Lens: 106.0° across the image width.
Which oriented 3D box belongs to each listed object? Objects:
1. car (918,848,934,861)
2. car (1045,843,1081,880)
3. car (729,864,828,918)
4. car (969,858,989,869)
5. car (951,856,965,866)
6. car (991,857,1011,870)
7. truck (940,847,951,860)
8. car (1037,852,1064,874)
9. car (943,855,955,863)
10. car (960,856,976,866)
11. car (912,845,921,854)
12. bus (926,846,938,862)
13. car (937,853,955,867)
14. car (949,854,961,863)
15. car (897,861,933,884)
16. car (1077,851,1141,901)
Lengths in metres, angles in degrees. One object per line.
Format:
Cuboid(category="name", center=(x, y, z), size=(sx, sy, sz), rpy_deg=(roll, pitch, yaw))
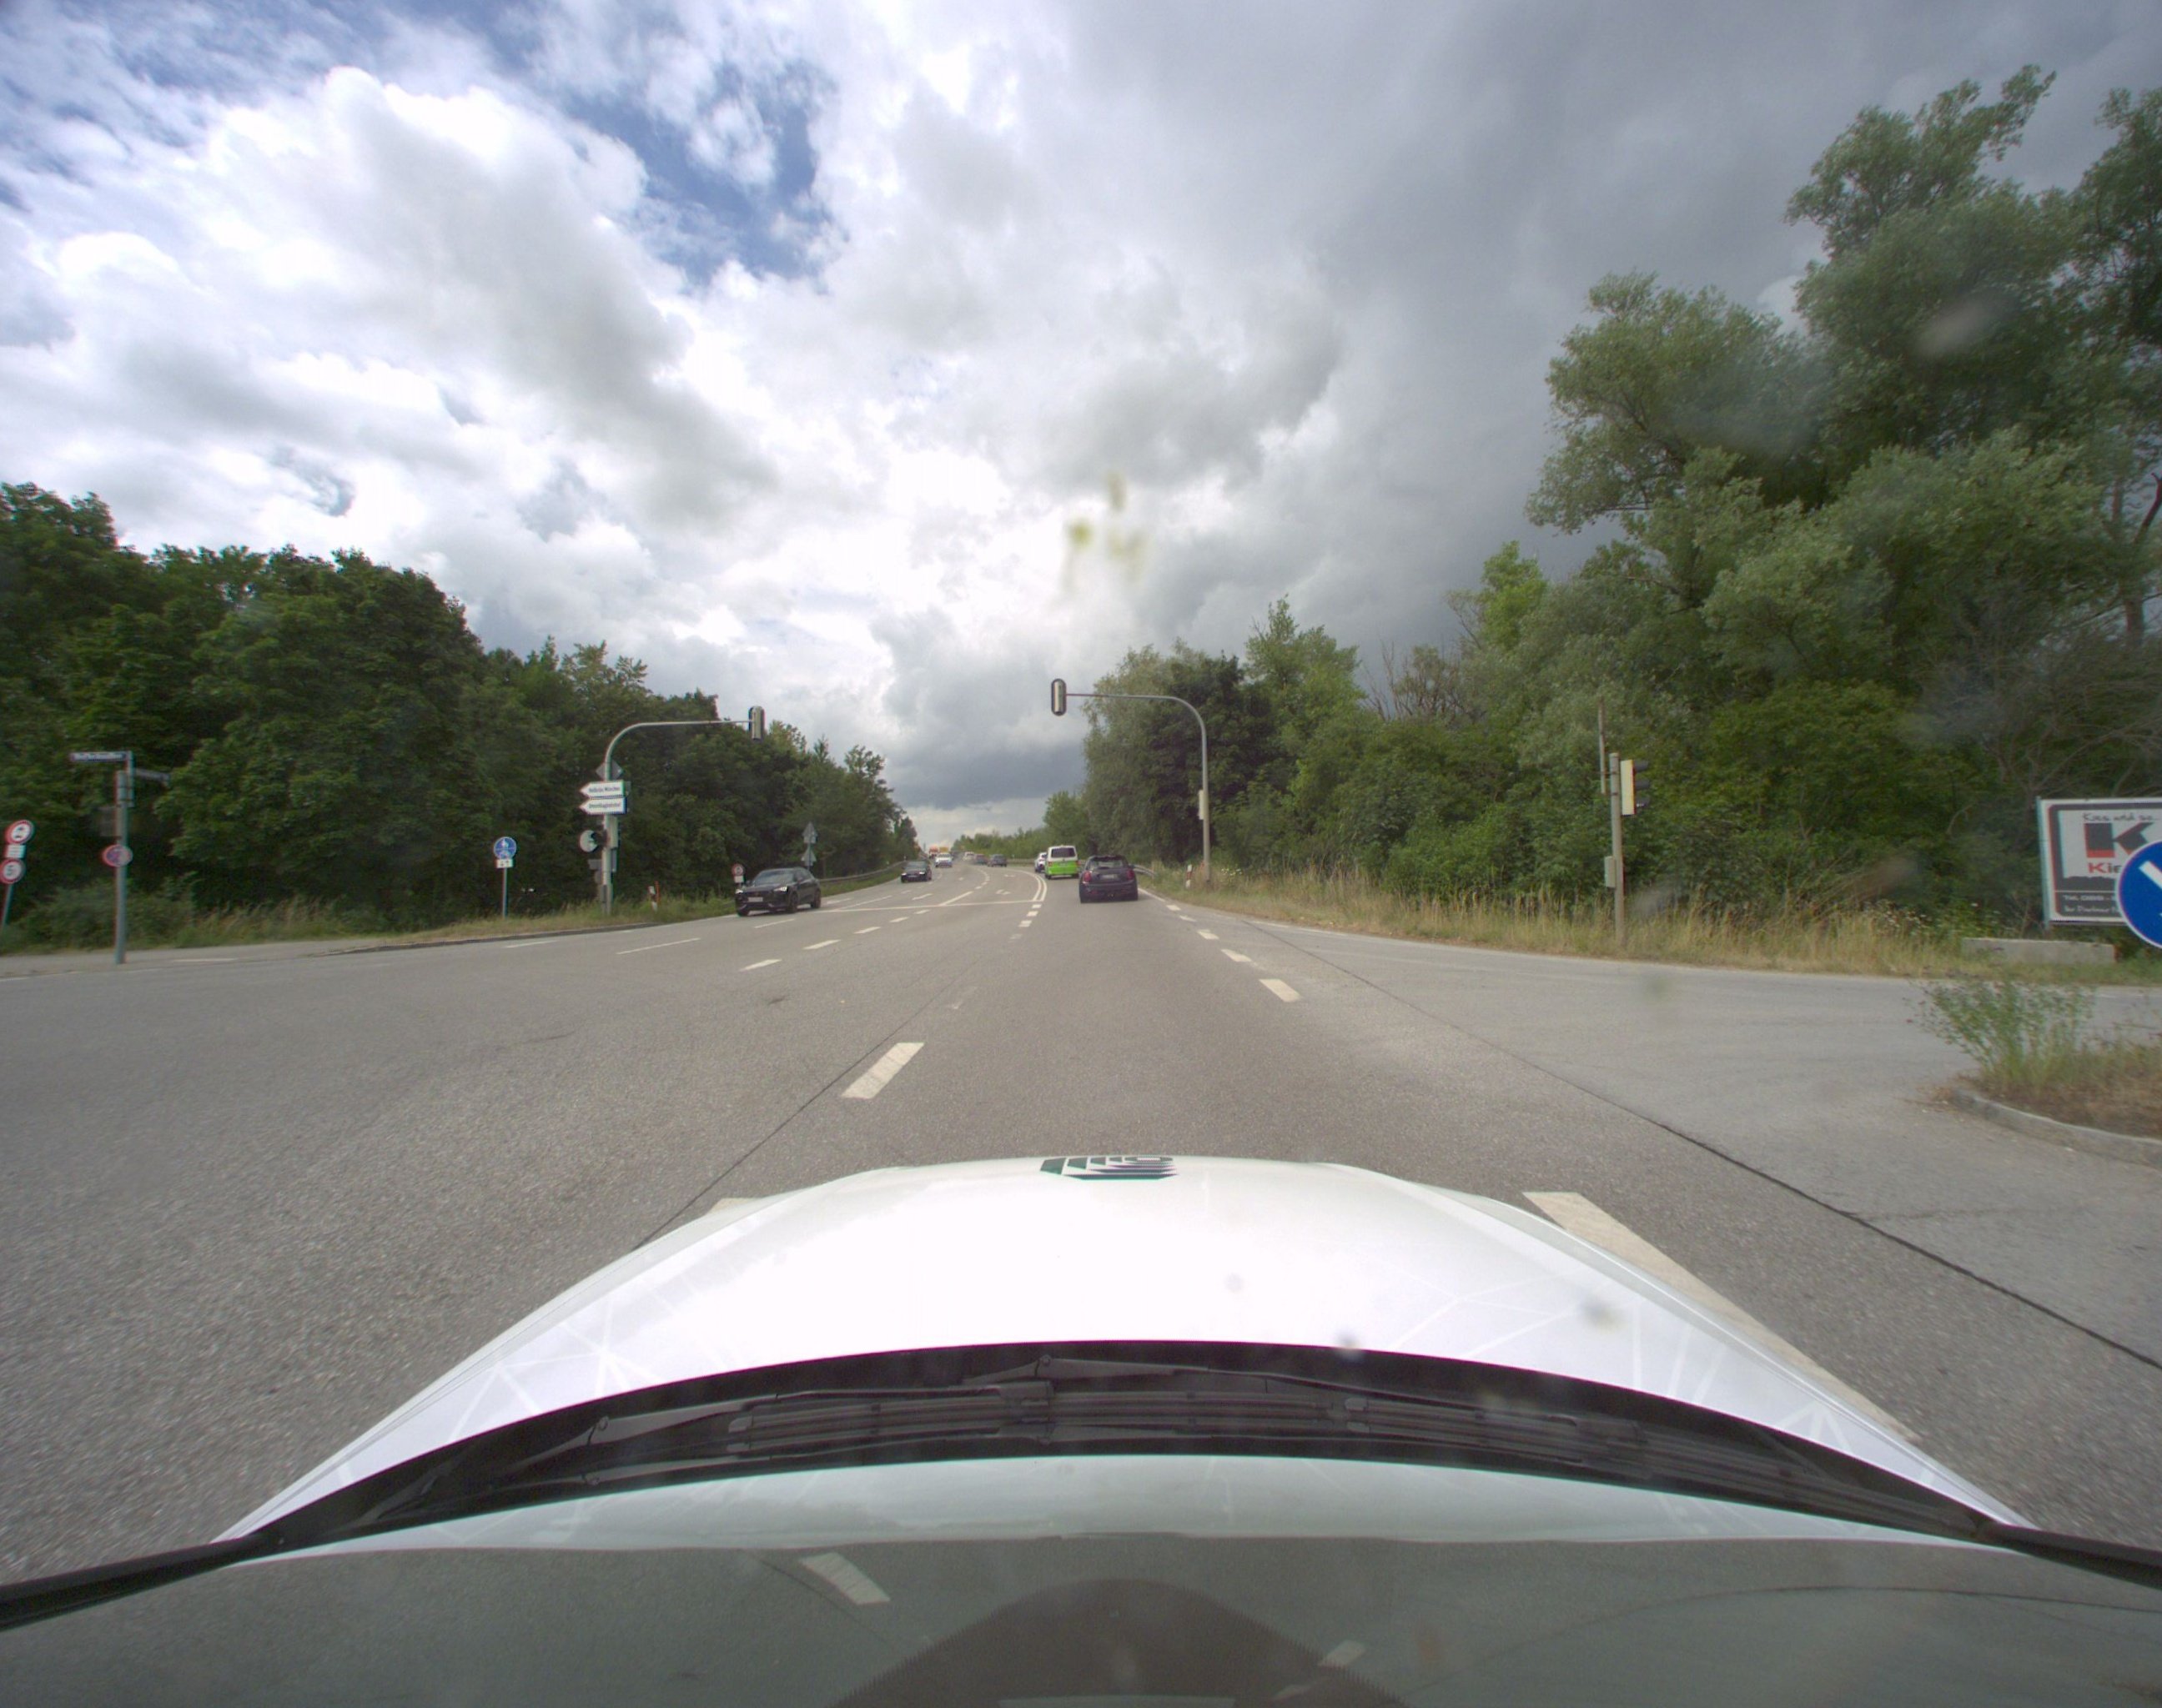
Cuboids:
Cuboid(category="car", center=(-21.367, 0.065, 112.353), size=(1.994, 1.690, 3.985), rpy_deg=(-1, 0, -11))
Cuboid(category="car", center=(-1.124, 0.400, 48.965), size=(1.843, 1.986, 3.833), rpy_deg=(-1, 2, -7))
Cuboid(category="car", center=(-10.171, 1.188, 27.730), size=(1.757, 1.583, 4.202), rpy_deg=(-3, -1, 0))
Cuboid(category="car", center=(-13.864, 1.355, 110.874), size=(1.998, 1.476, 4.460), rpy_deg=(0, -1, -16))
Cuboid(category="car", center=(-21.469, 1.167, 142.241), size=(1.997, 1.696, 4.463), rpy_deg=(0, -1, -15))
Cuboid(category="car", center=(-9.402, 1.172, 95.503), size=(1.994, 1.476, 4.469), rpy_deg=(0, -1, -10))
Cuboid(category="truck", center=(-35.583, -0.149, 214.625), size=(2.716, 2.898, 8.741), rpy_deg=(0, -3, -9))
Cuboid(category="car", center=(-2.394, 0.702, 64.230), size=(1.988, 1.684, 3.998), rpy_deg=(-1, -1, -1))
Cuboid(category="car", center=(-29.174, 1.090, 179.947), size=(1.997, 1.696, 4.461), rpy_deg=(0, -1, -15))
Cuboid(category="car", center=(-17.416, 1.105, 124.905), size=(1.996, 1.476, 4.464), rpy_deg=(0, -1, -14))
Cuboid(category="car", center=(-39.049, -1.073, 193.099), size=(1.994, 2.013, 3.987), rpy_deg=(-1, 0, -10))
Cuboid(category="bus", center=(-32.618, -0.004, 178.287), size=(1.996, 3.302, 7.393), rpy_deg=(-1, 0, -14))
Cuboid(category="car", center=(-15.967, 0.698, 96.335), size=(1.992, 1.613, 3.990), rpy_deg=(-1, 0, -8))
Cuboid(category="car", center=(-24.823, 0.914, 160.105), size=(1.996, 1.696, 4.464), rpy_deg=(0, -1, -13))
Cuboid(category="car", center=(-11.822, 1.279, 58.266), size=(1.733, 1.405, 4.247), rpy_deg=(-4, 0, -2))
Cuboid(category="car", center=(0.818, 0.653, 25.697), size=(1.839, 1.428, 3.840), rpy_deg=(-1, -1, 0))
